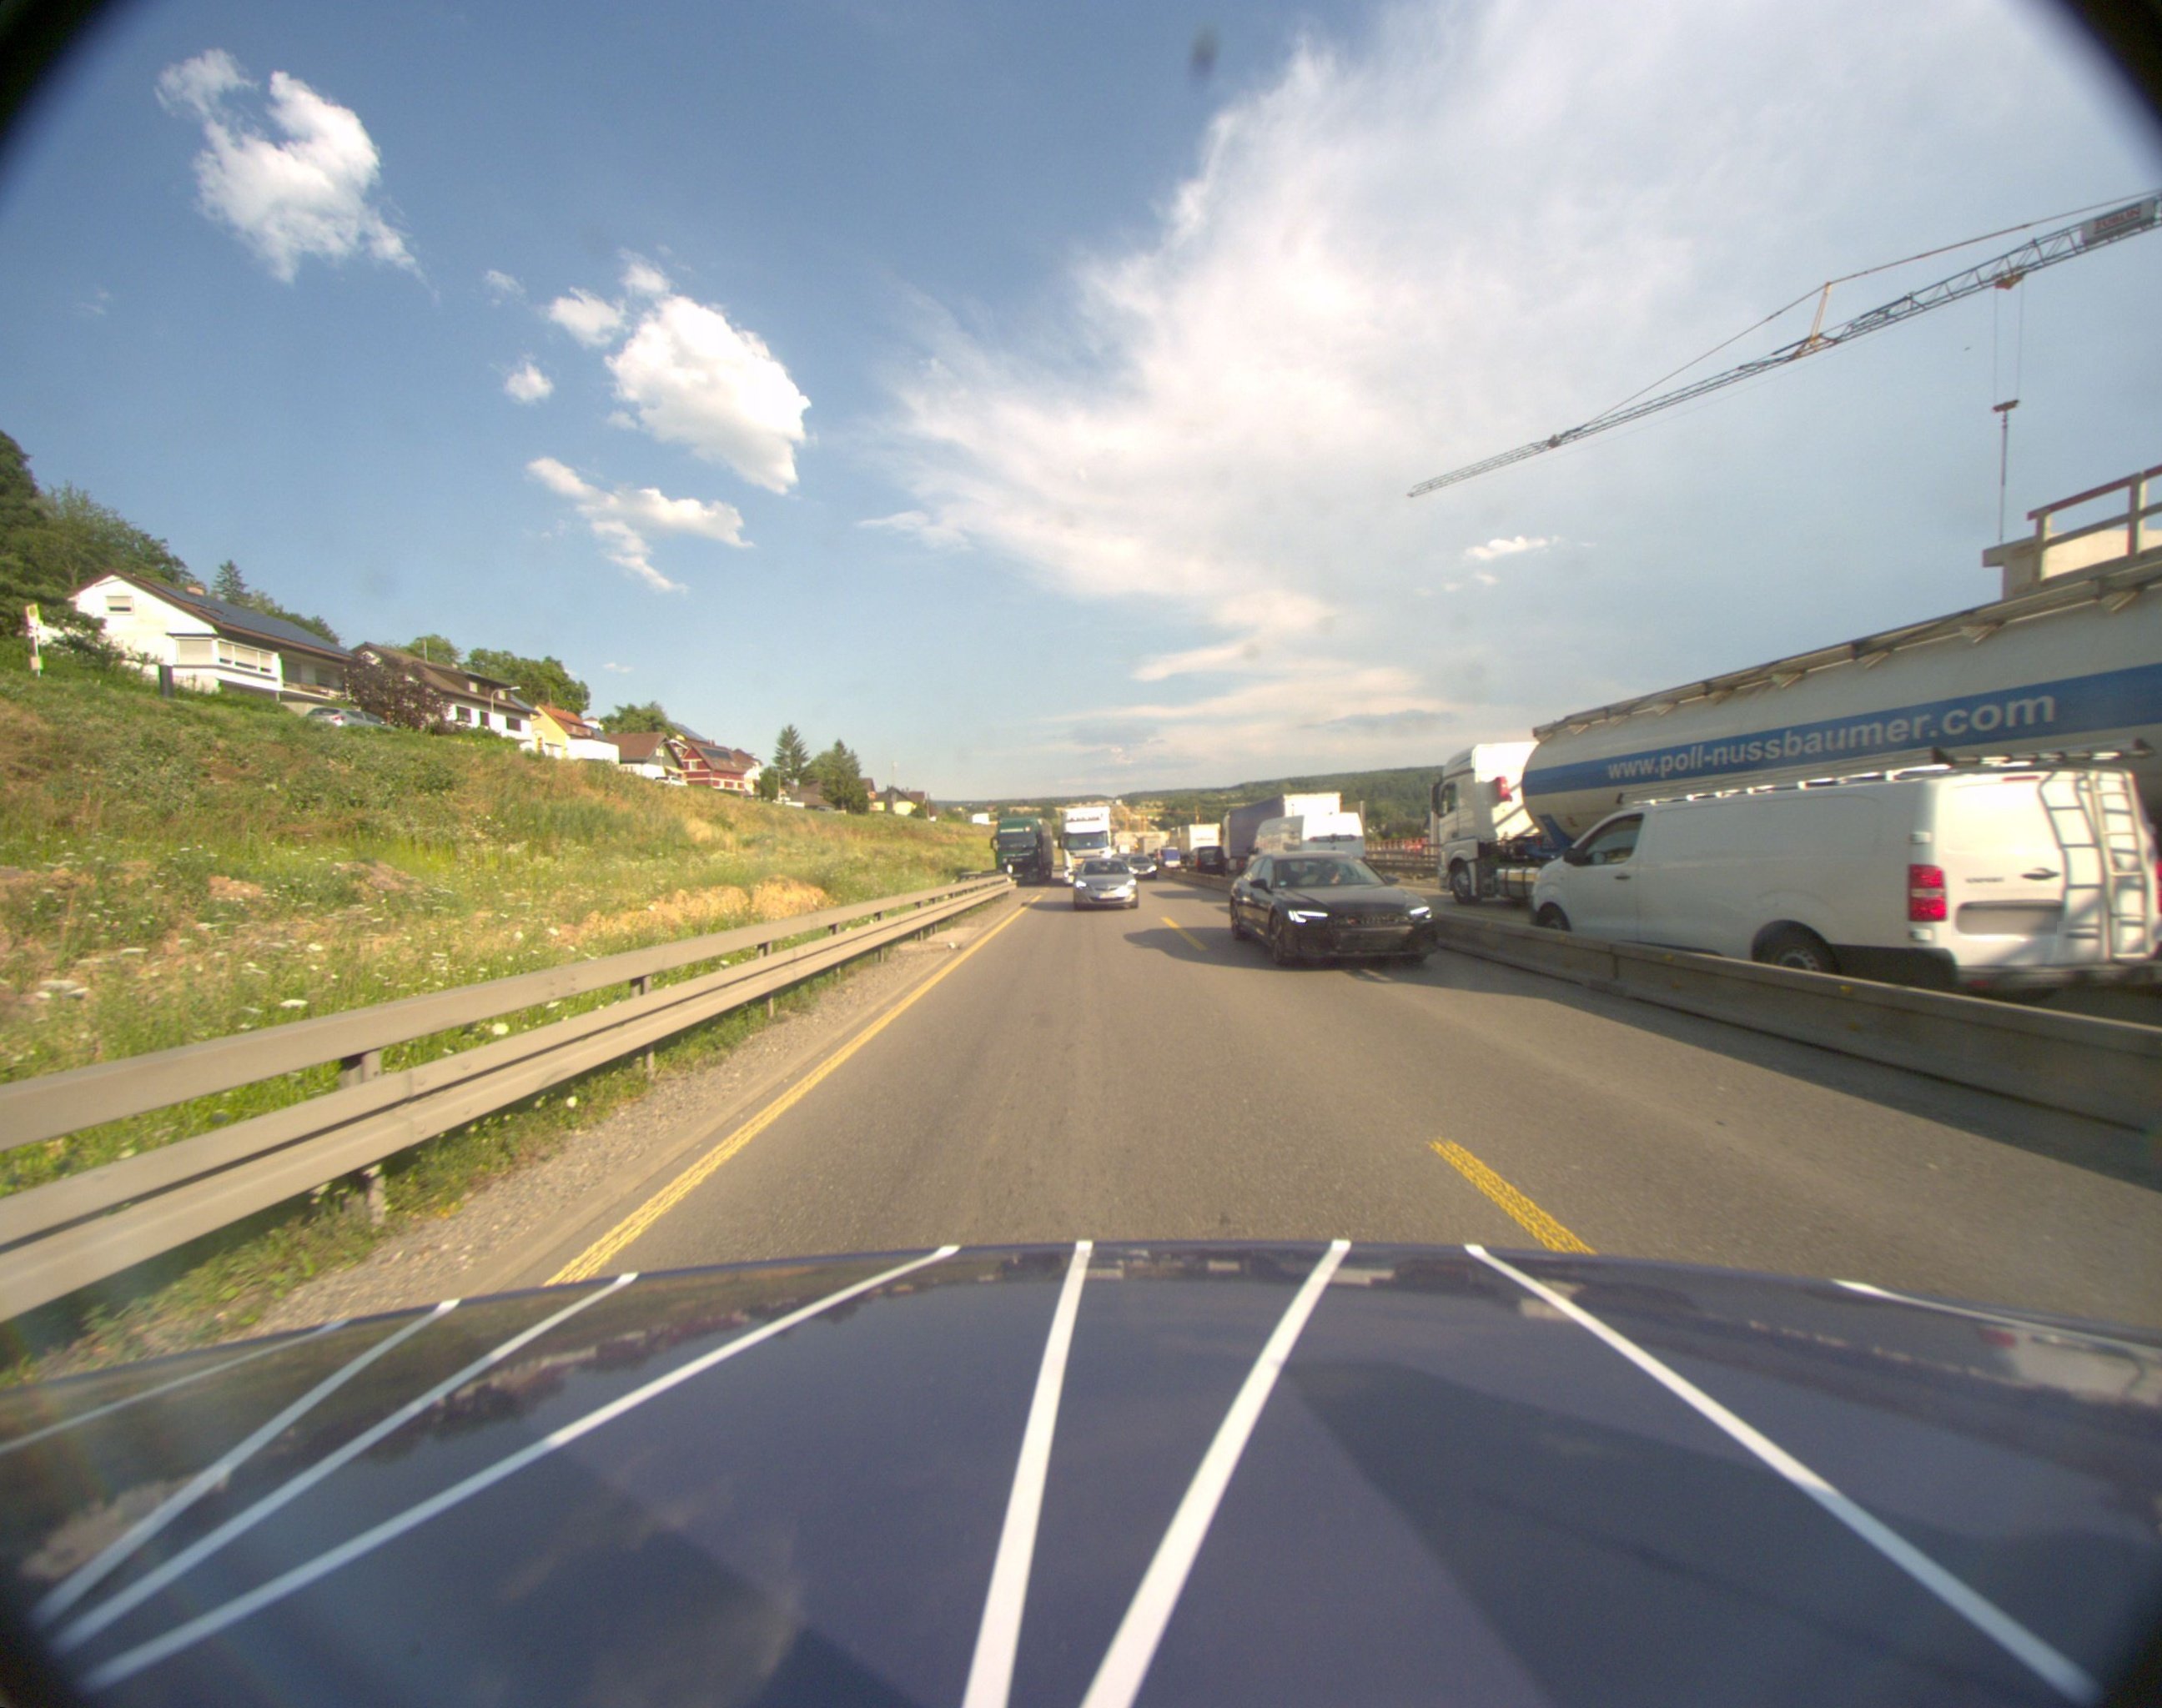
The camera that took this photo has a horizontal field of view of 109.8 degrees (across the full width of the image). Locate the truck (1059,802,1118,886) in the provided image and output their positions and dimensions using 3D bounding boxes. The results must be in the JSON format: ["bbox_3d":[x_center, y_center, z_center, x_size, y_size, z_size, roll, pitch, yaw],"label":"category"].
[{"bbox_3d":[0.474,-0.525,43.903,2.741,4.033,12.670,-3,0,1],"label":"truck"}]

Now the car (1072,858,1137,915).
[{"bbox_3d":[0.645,0.875,21.793,1.671,1.425,3.524,-1,0,0],"label":"car"}]

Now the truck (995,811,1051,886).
[{"bbox_3d":[-3.326,-0.315,44.945,2.547,3.992,6.071,-3,1,1],"label":"truck"}]

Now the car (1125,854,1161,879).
[{"bbox_3d":[3.572,0.710,44.420,1.692,1.293,3.883,-3,0,-1],"label":"car"}]

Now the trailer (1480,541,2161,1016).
[{"bbox_3d":[10.096,-0.673,9.940,2.659,3.828,13.442,-3,0,1],"label":"trailer"}]

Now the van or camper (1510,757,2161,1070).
[{"bbox_3d":[6.784,0.363,7.635,1.863,2.002,5.295,-3,0,-1],"label":"van or camper"}]

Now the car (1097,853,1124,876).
[{"bbox_3d":[2.271,0.817,59.396,1.998,1.739,4.000,-2,0,1],"label":"car"}]

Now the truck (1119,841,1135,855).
[{"bbox_3d":[12.508,-1.641,208.917,3.876,3.766,9.142,-3,0,1],"label":"truck"}]

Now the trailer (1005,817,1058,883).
[{"bbox_3d":[-3.200,-0.297,52.339,2.554,3.911,12.078,-3,0,1],"label":"trailer"}]

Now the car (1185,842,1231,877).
[{"bbox_3d":[7.230,0.288,43.631,1.785,1.832,4.853,-3,0,0],"label":"car"}]

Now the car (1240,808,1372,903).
[{"bbox_3d":[7.112,0.020,25.105,1.999,2.607,7.409,-3,0,-1],"label":"car"}]

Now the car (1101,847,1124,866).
[{"bbox_3d":[3.006,0.300,73.021,1.918,1.746,4.000,-1,-1,0],"label":"car"}]

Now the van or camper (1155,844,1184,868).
[{"bbox_3d":[7.603,0.143,65.722,1.868,1.881,5.003,-3,0,1],"label":"van or camper"}]

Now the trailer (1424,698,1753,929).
[{"bbox_3d":[10.137,-0.710,16.222,2.659,3.828,6.429,-3,0,0],"label":"trailer"}]

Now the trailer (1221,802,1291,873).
[{"bbox_3d":[10.734,-0.981,47.248,2.932,4.013,6.222,-3,1,1],"label":"trailer"}]

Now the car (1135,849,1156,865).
[{"bbox_3d":[6.824,0.275,80.772,1.861,1.565,4.000,-3,0,1],"label":"car"}]

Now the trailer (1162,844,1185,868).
[{"bbox_3d":[7.520,0.170,61.715,1.452,1.843,2.984,-3,0,1],"label":"trailer"}]

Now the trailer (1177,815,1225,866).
[{"bbox_3d":[10.739,-1.177,68.882,2.834,4.258,8.735,-3,0,1],"label":"trailer"}]

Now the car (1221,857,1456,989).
[{"bbox_3d":[3.334,0.796,10.822,1.873,1.411,4.349,-2,0,0],"label":"car"}]

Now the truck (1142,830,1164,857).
[{"bbox_3d":[11.485,-1.688,121.905,2.873,4.038,7.598,-2,0,1],"label":"truck"}]

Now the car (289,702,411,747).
[{"bbox_3d":[-35.083,-6.176,36.614,1.999,1.433,3.999,-2,0,-2],"label":"car"}]

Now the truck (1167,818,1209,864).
[{"bbox_3d":[10.866,-1.281,78.308,2.834,4.239,10.072,-3,0,1],"label":"truck"}]

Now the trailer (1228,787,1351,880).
[{"bbox_3d":[10.599,-0.937,40.608,2.932,4.013,13.774,-3,0,1],"label":"trailer"}]
